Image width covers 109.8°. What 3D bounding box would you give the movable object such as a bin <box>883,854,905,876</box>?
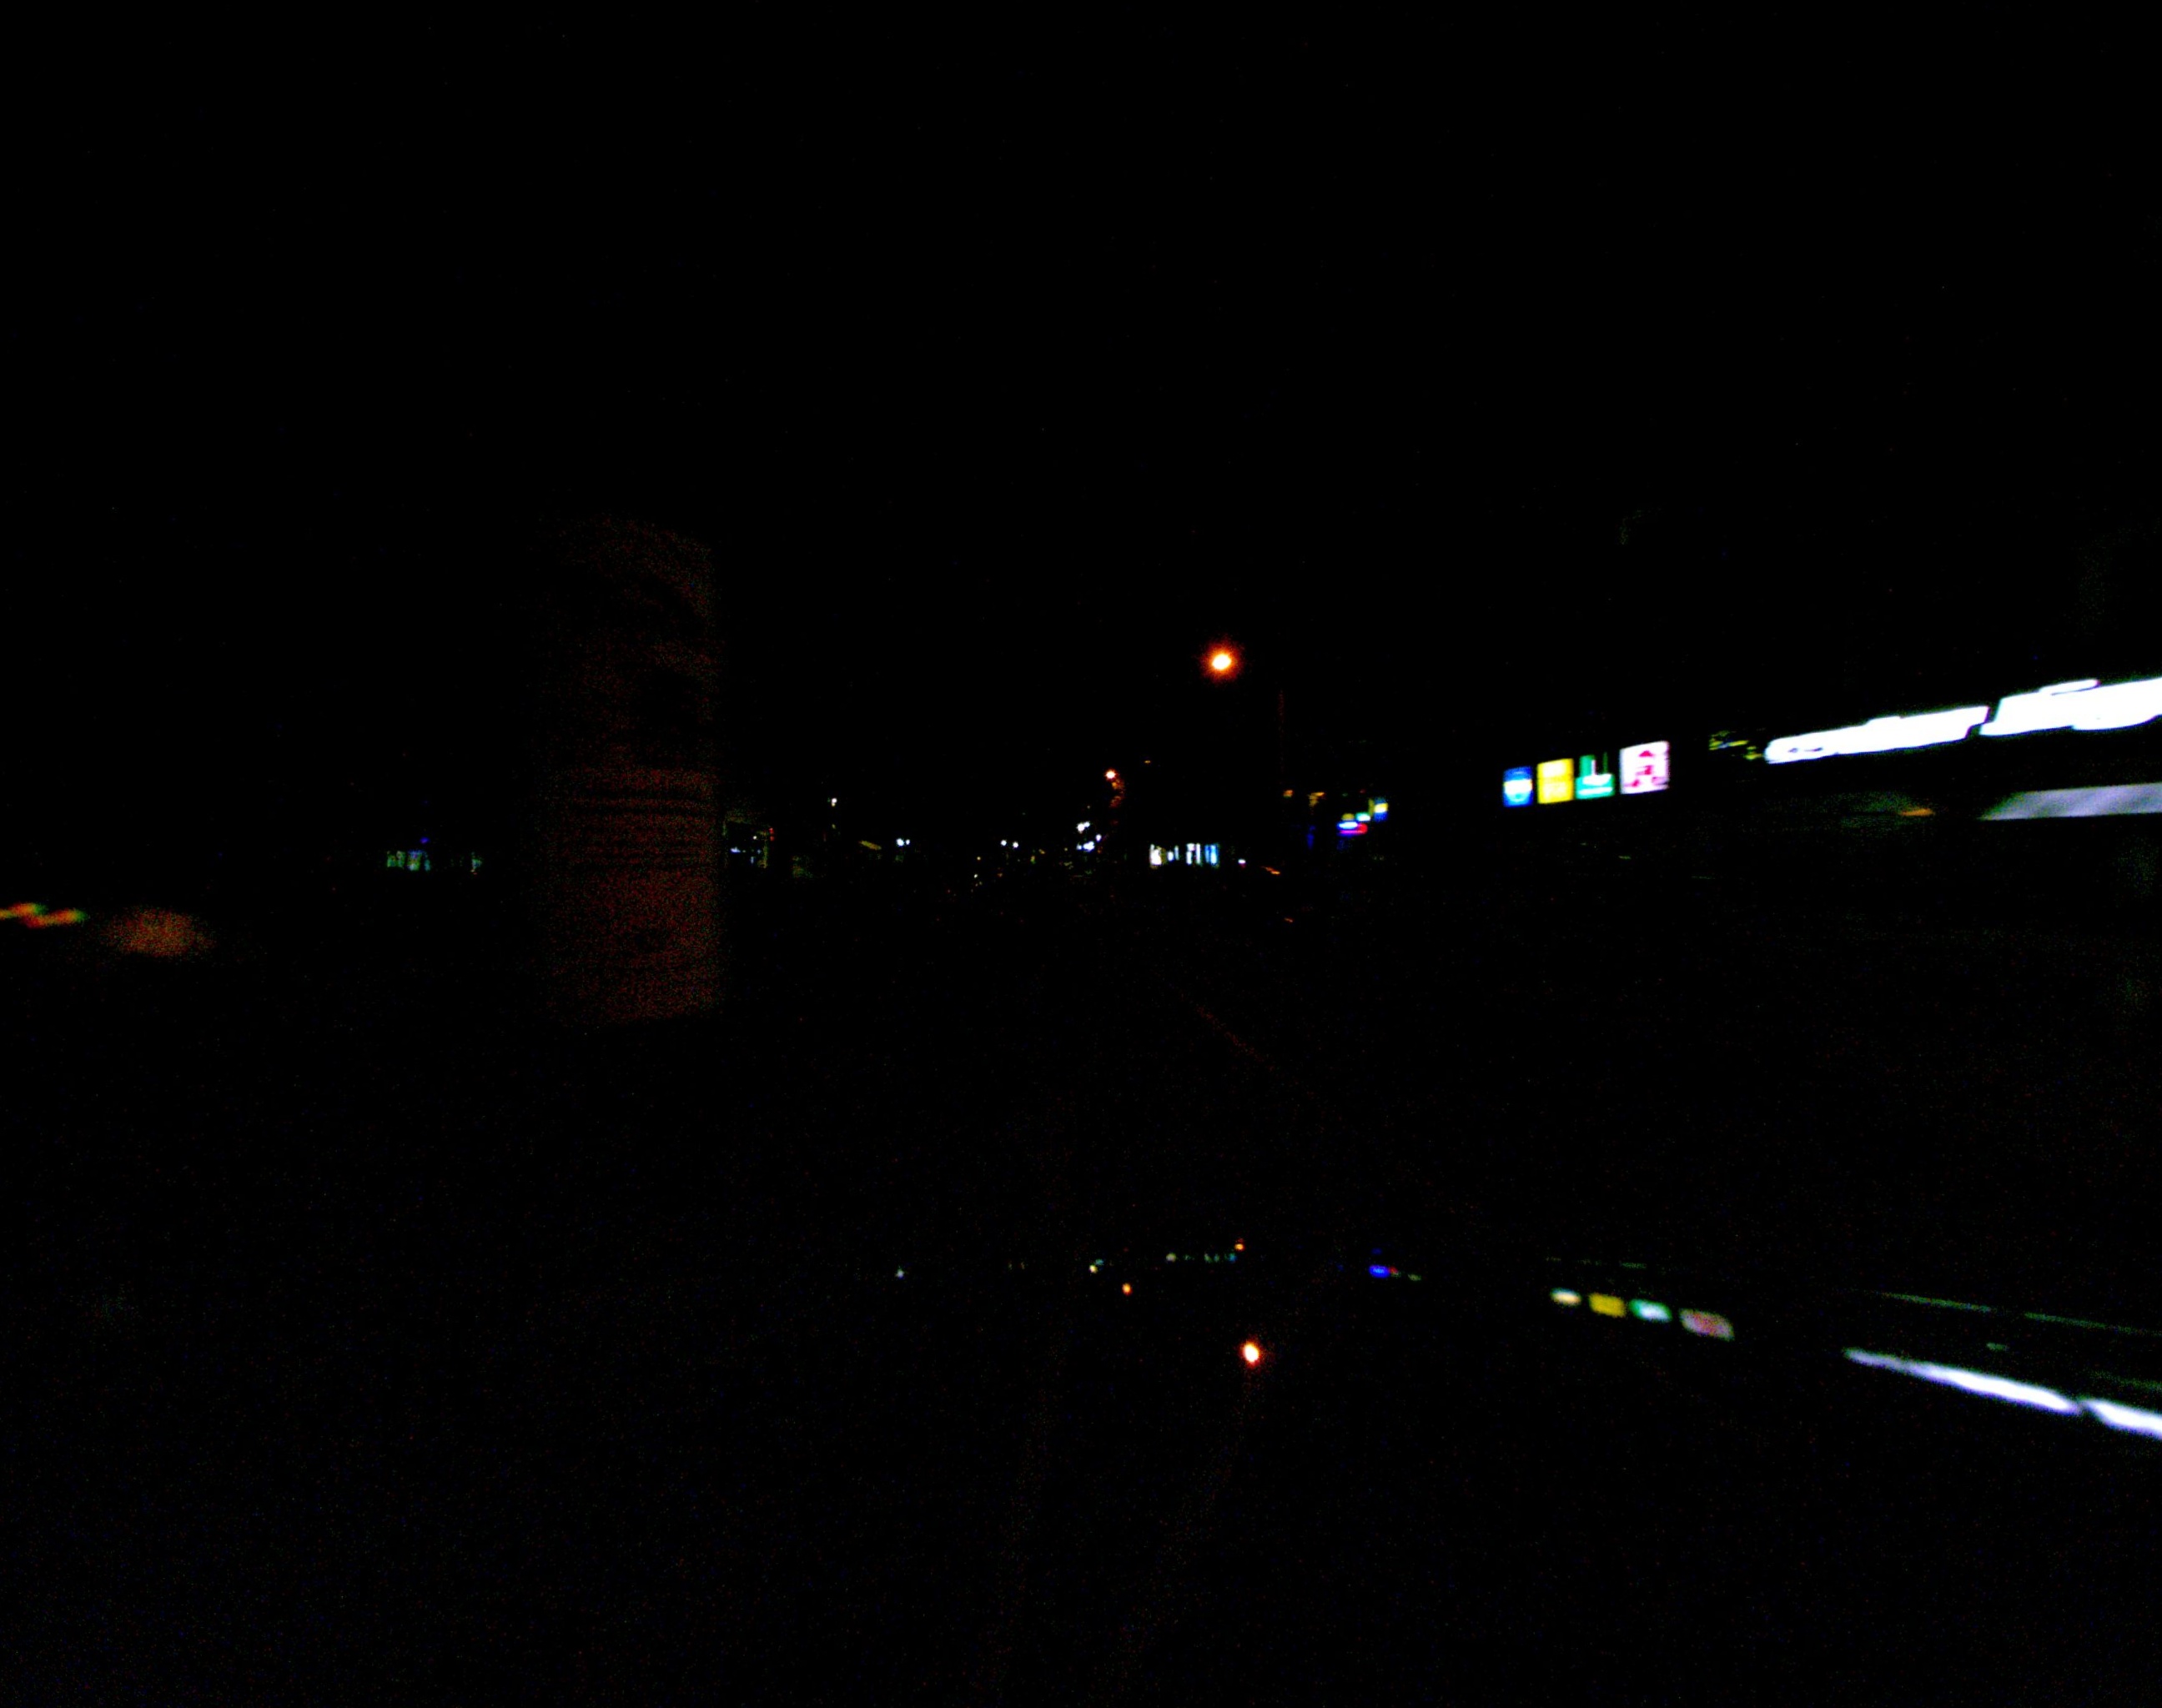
[{"bbox_3d":[-11.834,0.709,48.150,1.164,1.363,0.993,-1,0,-5],"label":"movable object such as a bin"}]

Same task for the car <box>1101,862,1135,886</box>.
[{"bbox_3d":[2.416,1.297,50.249,1.727,1.420,3.975,-2,0,-4],"label":"car"}]

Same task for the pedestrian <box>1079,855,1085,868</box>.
[{"bbox_3d":[0.098,0.988,103.191,0.720,1.795,0.716,0,0,-3],"label":"pedestrian"}]

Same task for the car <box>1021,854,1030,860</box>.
[{"bbox_3d":[-13.078,0.683,179.293,1.737,1.492,4.000,0,0,1],"label":"car"}]

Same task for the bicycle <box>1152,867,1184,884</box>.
[{"bbox_3d":[5.419,1.320,47.413,1.856,0.994,0.532,-2,0,-4],"label":"bicycle"}]

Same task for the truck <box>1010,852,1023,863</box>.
[{"bbox_3d":[-13.820,0.797,163.524,2.110,2.230,6.288,0,0,1],"label":"truck"}]

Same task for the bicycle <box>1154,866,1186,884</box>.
[{"bbox_3d":[5.489,1.310,46.663,1.856,1.029,0.532,-2,0,-4],"label":"bicycle"}]

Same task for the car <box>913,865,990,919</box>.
[{"bbox_3d":[-3.833,1.081,23.170,1.769,1.406,4.806,0,0,-3],"label":"car"}]

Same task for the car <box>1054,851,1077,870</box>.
[{"bbox_3d":[-1.777,0.729,86.230,1.858,2.075,5.086,-2,0,-9],"label":"car"}]

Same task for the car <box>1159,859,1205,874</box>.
[{"bbox_3d":[10.232,1.256,77.408,4.341,1.389,1.802,-1,0,-5],"label":"car"}]

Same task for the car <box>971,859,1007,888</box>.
[{"bbox_3d":[-4.986,1.039,41.660,1.694,1.528,4.014,1,0,-3],"label":"car"}]

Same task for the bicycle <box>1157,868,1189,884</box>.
[{"bbox_3d":[5.438,1.296,44.942,1.856,0.962,0.501,0,0,-4],"label":"bicycle"}]

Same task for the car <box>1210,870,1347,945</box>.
[{"bbox_3d":[4.350,1.117,17.469,1.746,1.405,4.494,-1,0,-3],"label":"car"}]

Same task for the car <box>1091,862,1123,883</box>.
[{"bbox_3d":[1.851,1.331,55.672,1.812,1.416,4.919,-2,0,-4],"label":"car"}]

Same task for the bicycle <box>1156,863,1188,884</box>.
[{"bbox_3d":[5.517,1.184,45.957,1.856,1.246,0.532,0,0,-4],"label":"bicycle"}]

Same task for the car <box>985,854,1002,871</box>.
[{"bbox_3d":[-9.607,0.909,83.727,1.794,1.811,4.577,0,0,-5],"label":"car"}]

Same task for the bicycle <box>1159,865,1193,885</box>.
[{"bbox_3d":[5.544,1.218,44.370,1.856,1.159,0.532,0,0,-4],"label":"bicycle"}]

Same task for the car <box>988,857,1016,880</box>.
[{"bbox_3d":[-5.776,1.041,55.818,1.775,1.527,4.215,2,0,-3],"label":"car"}]

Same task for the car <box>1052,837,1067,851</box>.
[{"bbox_3d":[-3.180,-1.460,110.794,1.930,1.953,5.074,-2,0,-5],"label":"car"}]

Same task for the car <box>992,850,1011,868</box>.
[{"bbox_3d":[-10.756,0.649,102.060,2.141,2.313,5.147,0,0,-10],"label":"car"}]

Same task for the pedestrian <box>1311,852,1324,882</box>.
[{"bbox_3d":[13.096,0.720,42.095,0.479,1.627,0.632,0,0,-3],"label":"pedestrian"}]

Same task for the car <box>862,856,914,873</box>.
[{"bbox_3d":[-17.615,0.945,69.458,4.328,1.523,1.802,0,1,-5],"label":"car"}]

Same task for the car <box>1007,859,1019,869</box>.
[{"bbox_3d":[-11.374,1.661,127.475,1.913,1.792,4.934,0,0,-5],"label":"car"}]
